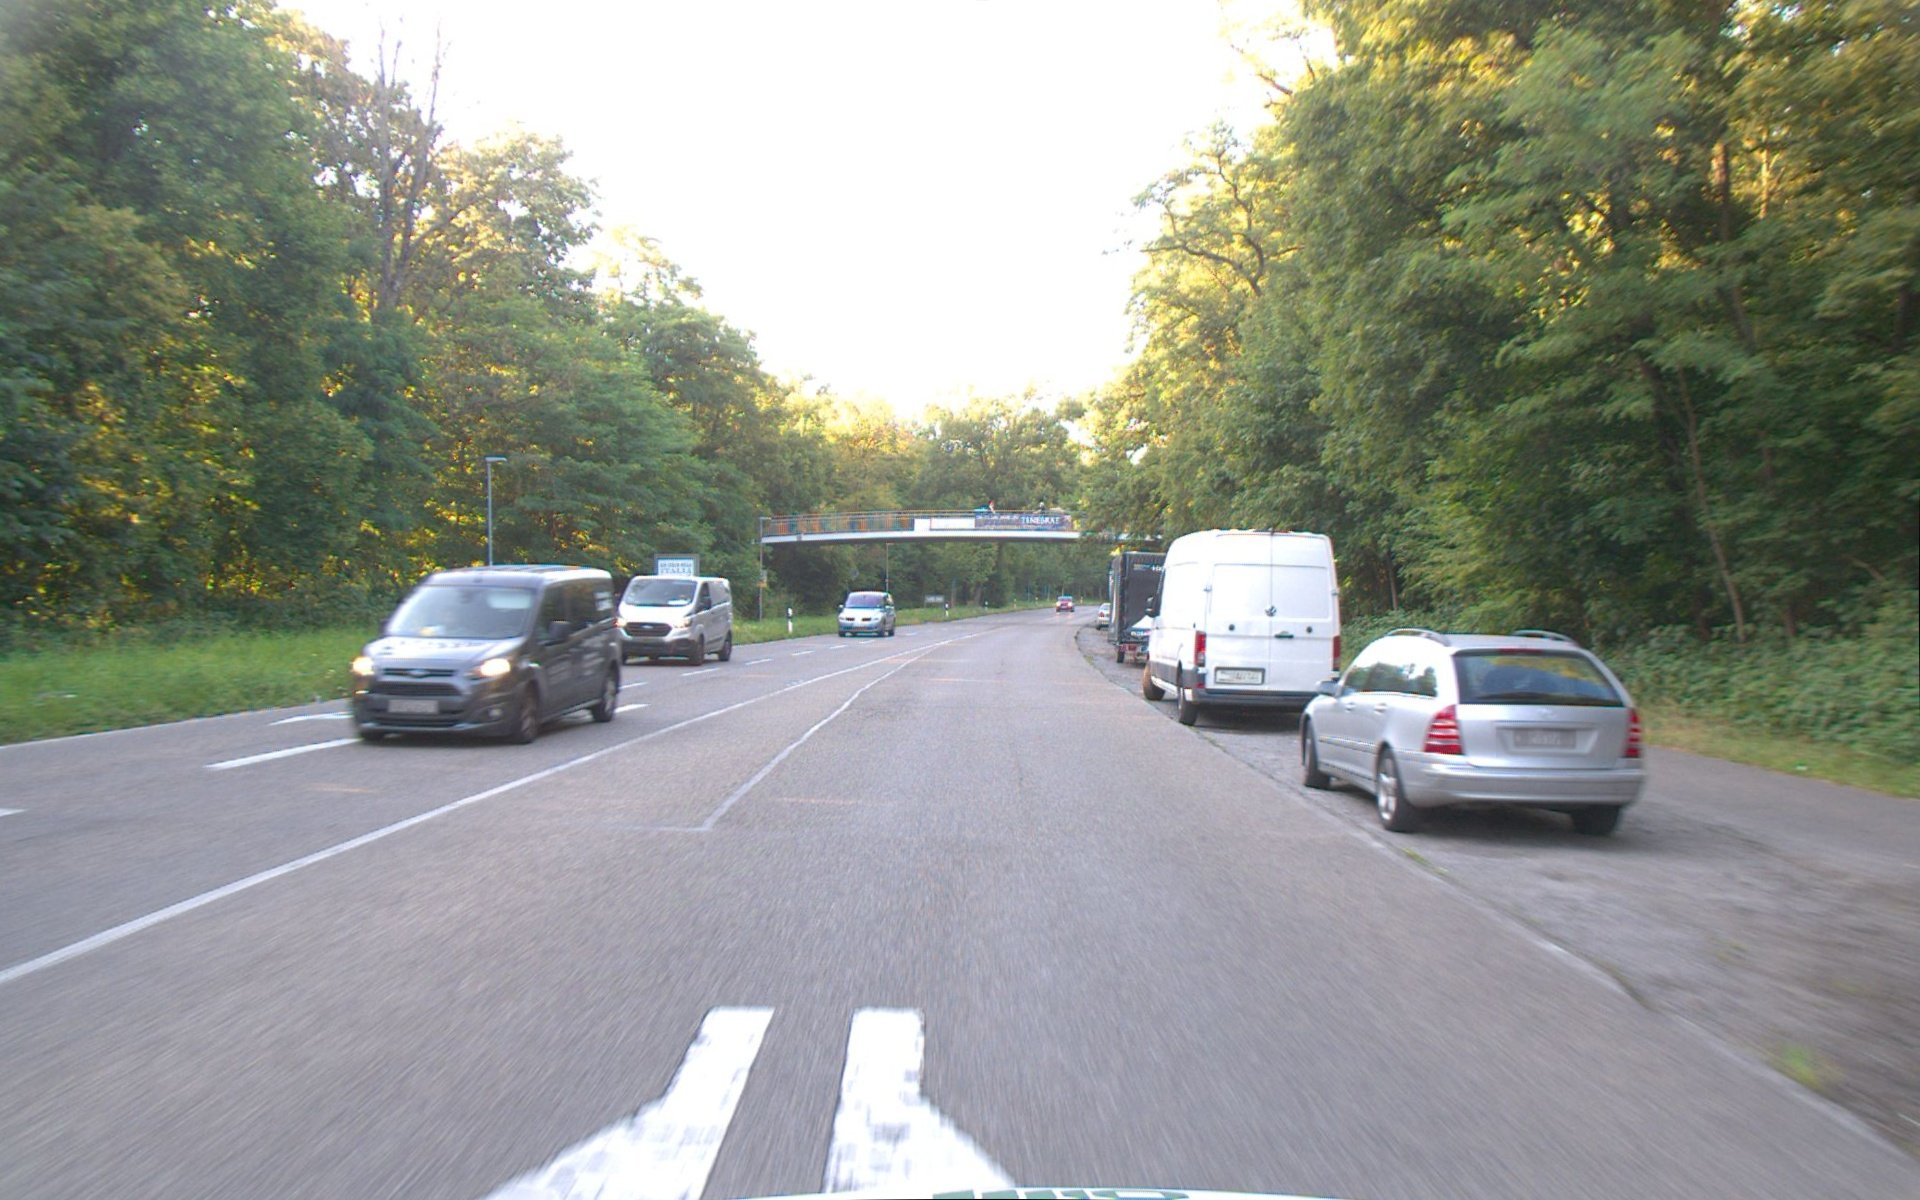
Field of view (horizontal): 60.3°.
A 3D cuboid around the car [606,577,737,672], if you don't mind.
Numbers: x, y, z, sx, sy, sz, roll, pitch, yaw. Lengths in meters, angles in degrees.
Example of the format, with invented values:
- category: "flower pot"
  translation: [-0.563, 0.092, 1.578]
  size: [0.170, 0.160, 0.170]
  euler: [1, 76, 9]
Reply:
- category: "car"
  translation: [-6.520, 0.530, 37.812]
  size: [1.952, 1.960, 4.383]
  euler: [2, 0, 3]

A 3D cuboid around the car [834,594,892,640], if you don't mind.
- category: "car"
  translation: [-3.785, 0.654, 65.374]
  size: [1.805, 1.766, 4.002]
  euler: [1, 0, 3]

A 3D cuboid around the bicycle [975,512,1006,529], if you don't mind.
- category: "bicycle"
  translation: [1.813, -4.765, 99.278]
  size: [1.805, 0.965, 0.551]
  euler: [1, 0, 6]

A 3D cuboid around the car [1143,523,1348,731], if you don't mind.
- category: "car"
  translation: [3.924, 0.345, 23.828]
  size: [1.923, 2.556, 6.016]
  euler: [2, 0, 1]

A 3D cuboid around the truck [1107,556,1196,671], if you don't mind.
- category: "truck"
  translation: [5.009, 0.339, 43.973]
  size: [1.952, 2.765, 6.618]
  euler: [1, 0, 4]

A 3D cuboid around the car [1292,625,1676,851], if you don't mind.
- category: "car"
  translation: [3.951, 0.960, 13.238]
  size: [1.649, 1.397, 4.270]
  euler: [2, 0, -1]

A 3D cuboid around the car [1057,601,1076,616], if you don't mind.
- category: "car"
  translation: [10.499, 0.822, 163.564]
  size: [1.852, 1.473, 4.111]
  euler: [-1, 0, 4]

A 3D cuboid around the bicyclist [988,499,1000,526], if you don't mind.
- category: "bicyclist"
  translation: [2.025, -5.242, 99.260]
  size: [0.651, 1.609, 0.548]
  euler: [1, 0, 6]

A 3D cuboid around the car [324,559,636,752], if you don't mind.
- category: "car"
  translation: [-5.108, 0.543, 18.374]
  size: [1.805, 1.831, 4.749]
  euler: [1, 0, 3]

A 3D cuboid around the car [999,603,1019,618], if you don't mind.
- category: "car"
  translation: [4.824, 1.003, 162.513]
  size: [1.852, 1.473, 4.111]
  euler: [-1, 0, 4]

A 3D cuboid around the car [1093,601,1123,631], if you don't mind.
- category: "car"
  translation: [7.901, 0.852, 88.683]
  size: [1.484, 1.535, 3.338]
  euler: [1, 0, 3]
